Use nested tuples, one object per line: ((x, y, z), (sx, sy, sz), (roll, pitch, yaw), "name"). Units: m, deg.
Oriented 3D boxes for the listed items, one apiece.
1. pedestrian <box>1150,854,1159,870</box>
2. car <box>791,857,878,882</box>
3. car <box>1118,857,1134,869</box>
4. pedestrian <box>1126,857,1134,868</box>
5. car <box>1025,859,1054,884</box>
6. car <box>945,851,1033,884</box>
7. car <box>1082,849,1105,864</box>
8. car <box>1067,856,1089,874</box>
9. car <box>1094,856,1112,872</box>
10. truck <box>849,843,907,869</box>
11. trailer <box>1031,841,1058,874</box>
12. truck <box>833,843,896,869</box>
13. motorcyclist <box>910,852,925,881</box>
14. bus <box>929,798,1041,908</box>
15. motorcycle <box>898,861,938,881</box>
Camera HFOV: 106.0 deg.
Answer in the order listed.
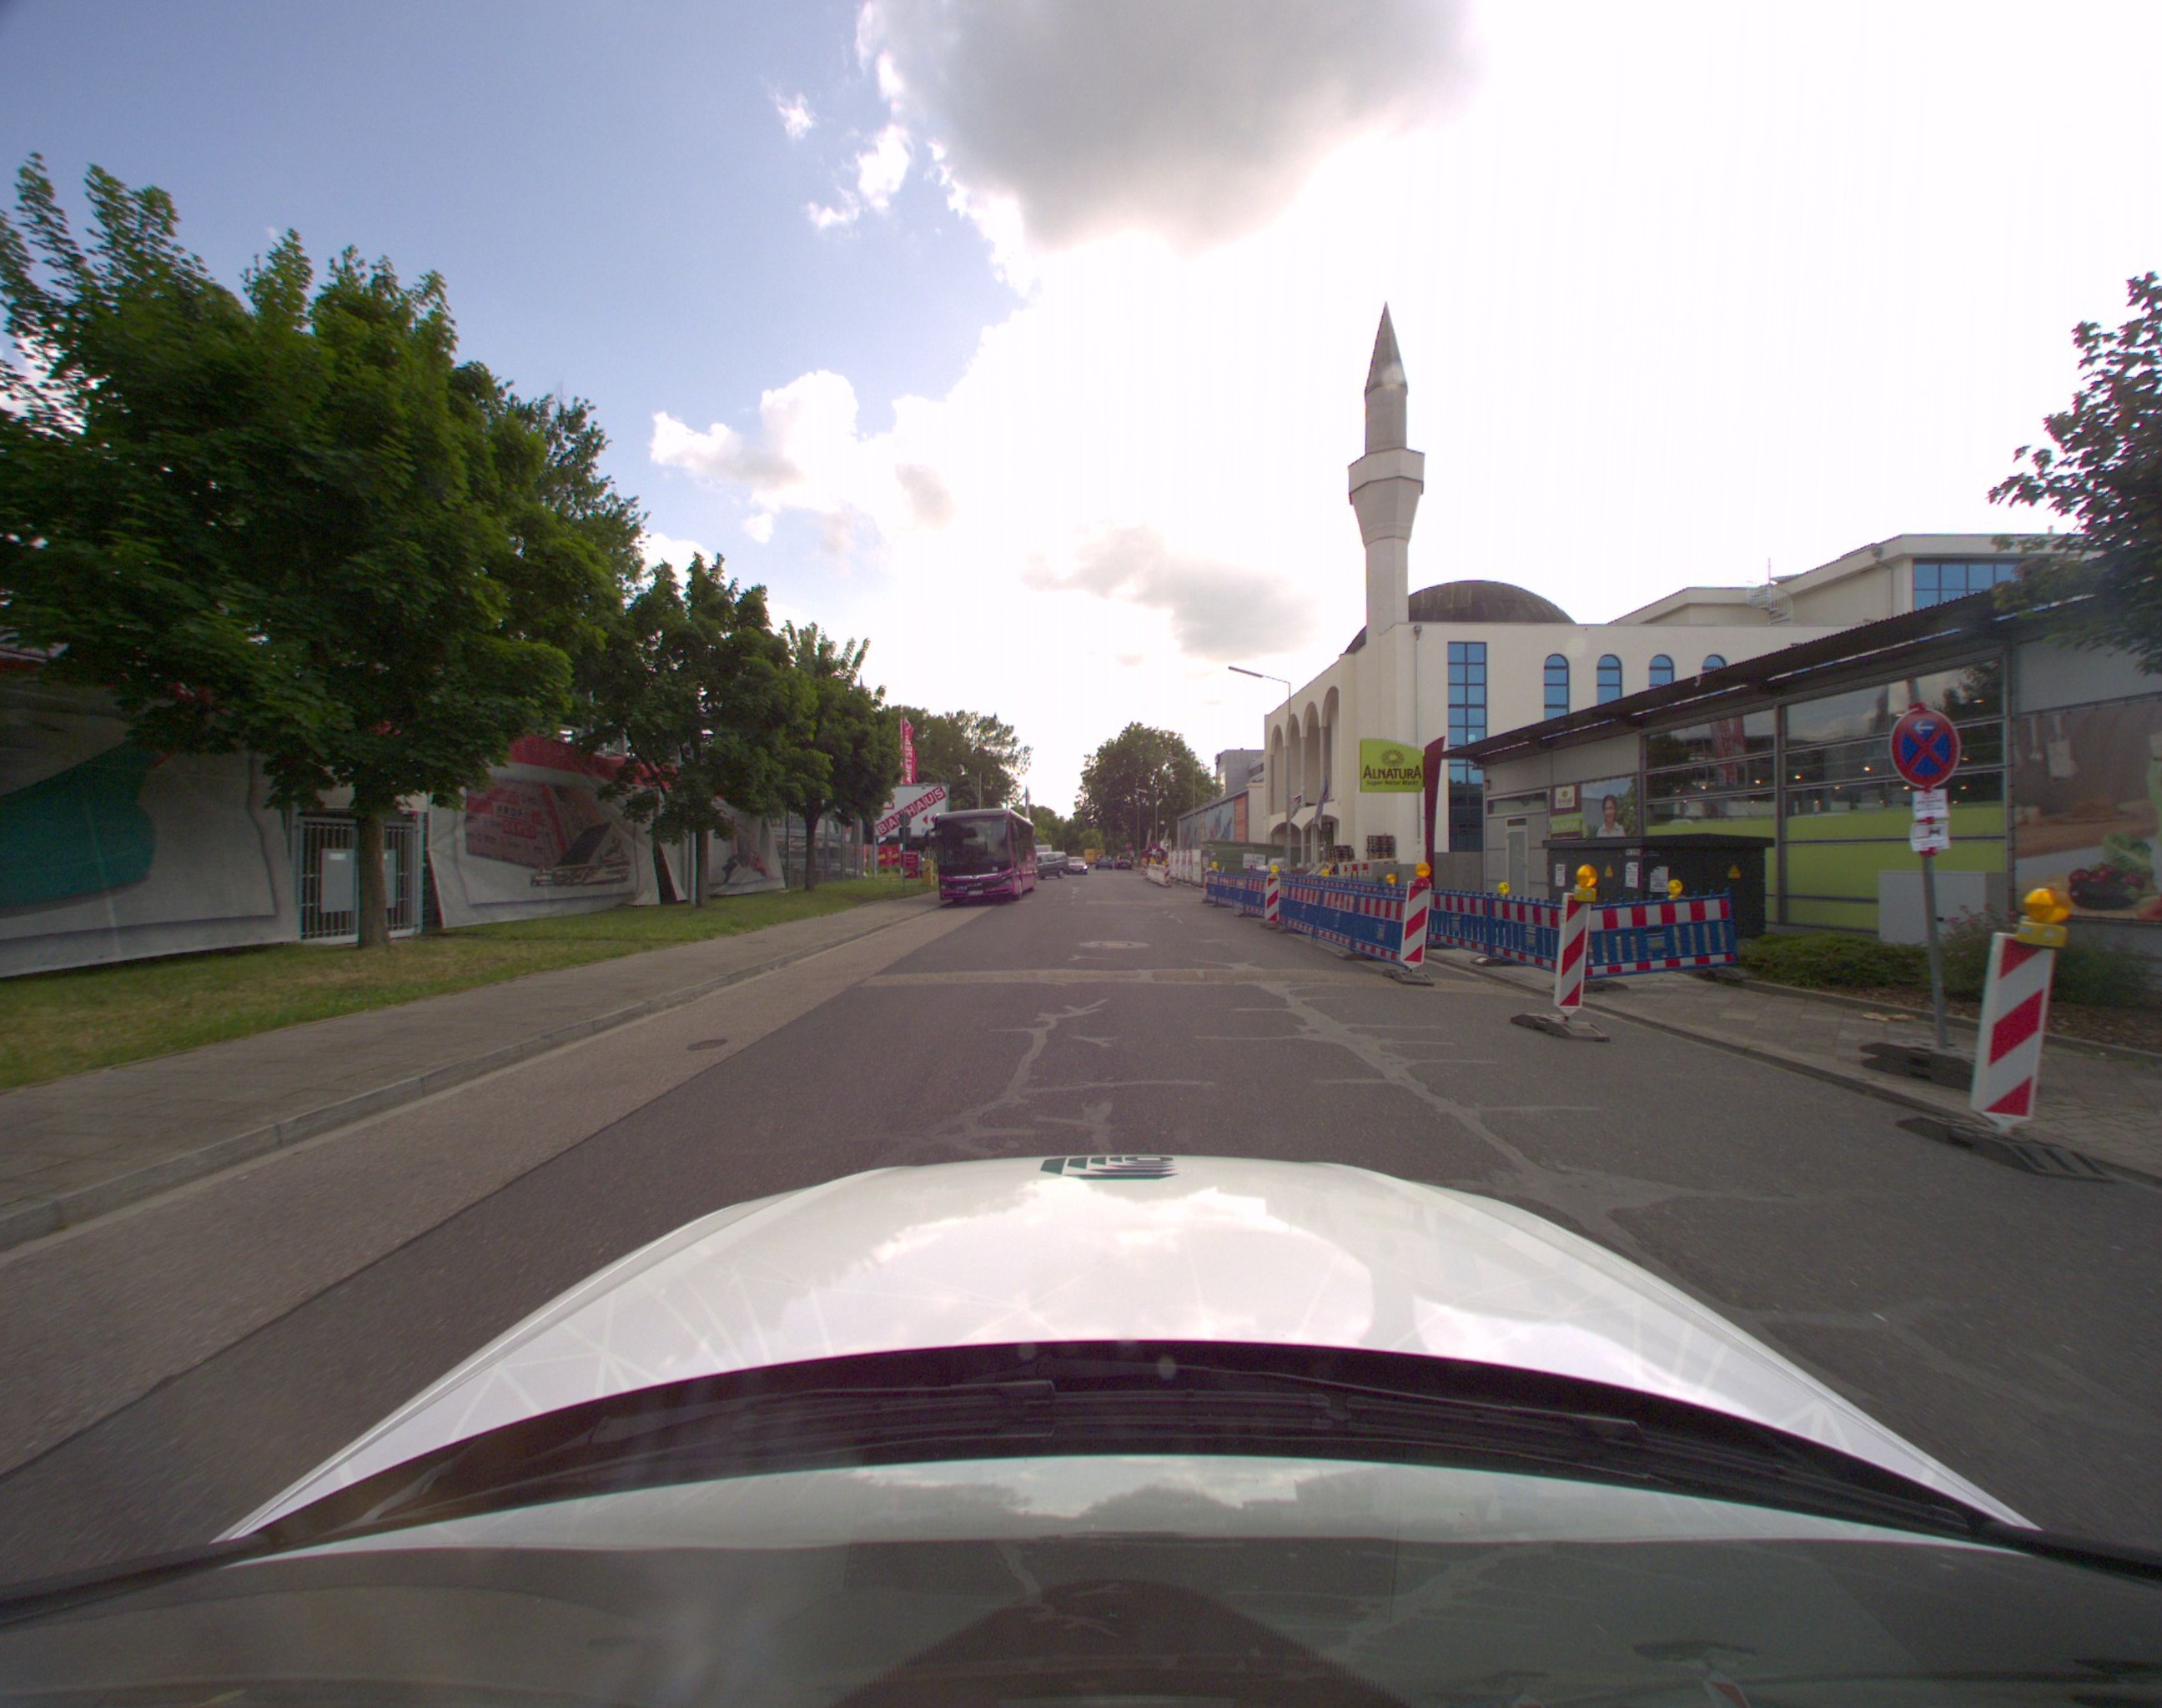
((7.092, 0.763, 78.602), (0.679, 1.534, 1.130), (0, -1, 0), "pedestrian")
((-14.991, 0.934, 49.626), (4.667, 1.454, 1.955), (0, 0, 1), "car")
((5.393, 1.050, 98.611), (1.801, 1.391, 4.590), (3, 0, 2), "car")
((7.763, 1.336, 128.648), (1.003, 1.849, 1.222), (1, -1, -17), "pedestrian")
((-2.902, 1.203, 57.598), (1.862, 1.630, 4.126), (0, 0, -1), "car")
((-5.539, 0.814, 49.350), (4.975, 1.949, 1.995), (0, 0, 5), "car")
((2.146, 0.404, 141.673), (2.204, 2.578, 6.367), (0, 0, -17), "car")
((-0.221, 0.908, 70.533), (1.790, 1.459, 4.385), (-1, 0, 0), "car")
((2.593, 1.149, 95.759), (1.956, 1.815, 4.273), (0, 0, -1), "car")
((-20.905, 0.251, 83.987), (5.528, 2.594, 1.779), (0, -2, 0), "truck")
((-3.209, 0.301, 72.886), (2.133, 2.783, 4.702), (-2, 0, 0), "trailer")
((-21.441, 0.216, 80.711), (5.732, 2.594, 1.816), (0, -2, 2), "truck")
((-9.940, 0.770, 49.647), (0.671, 1.723, 0.994), (-1, 0, 1), "motorcyclist")
((-3.442, -0.016, 33.005), (2.654, 3.422, 13.217), (-4, 0, 0), "bus")
((-9.937, 1.027, 49.655), (2.213, 1.213, 0.994), (-1, 0, 0), "motorcycle")
